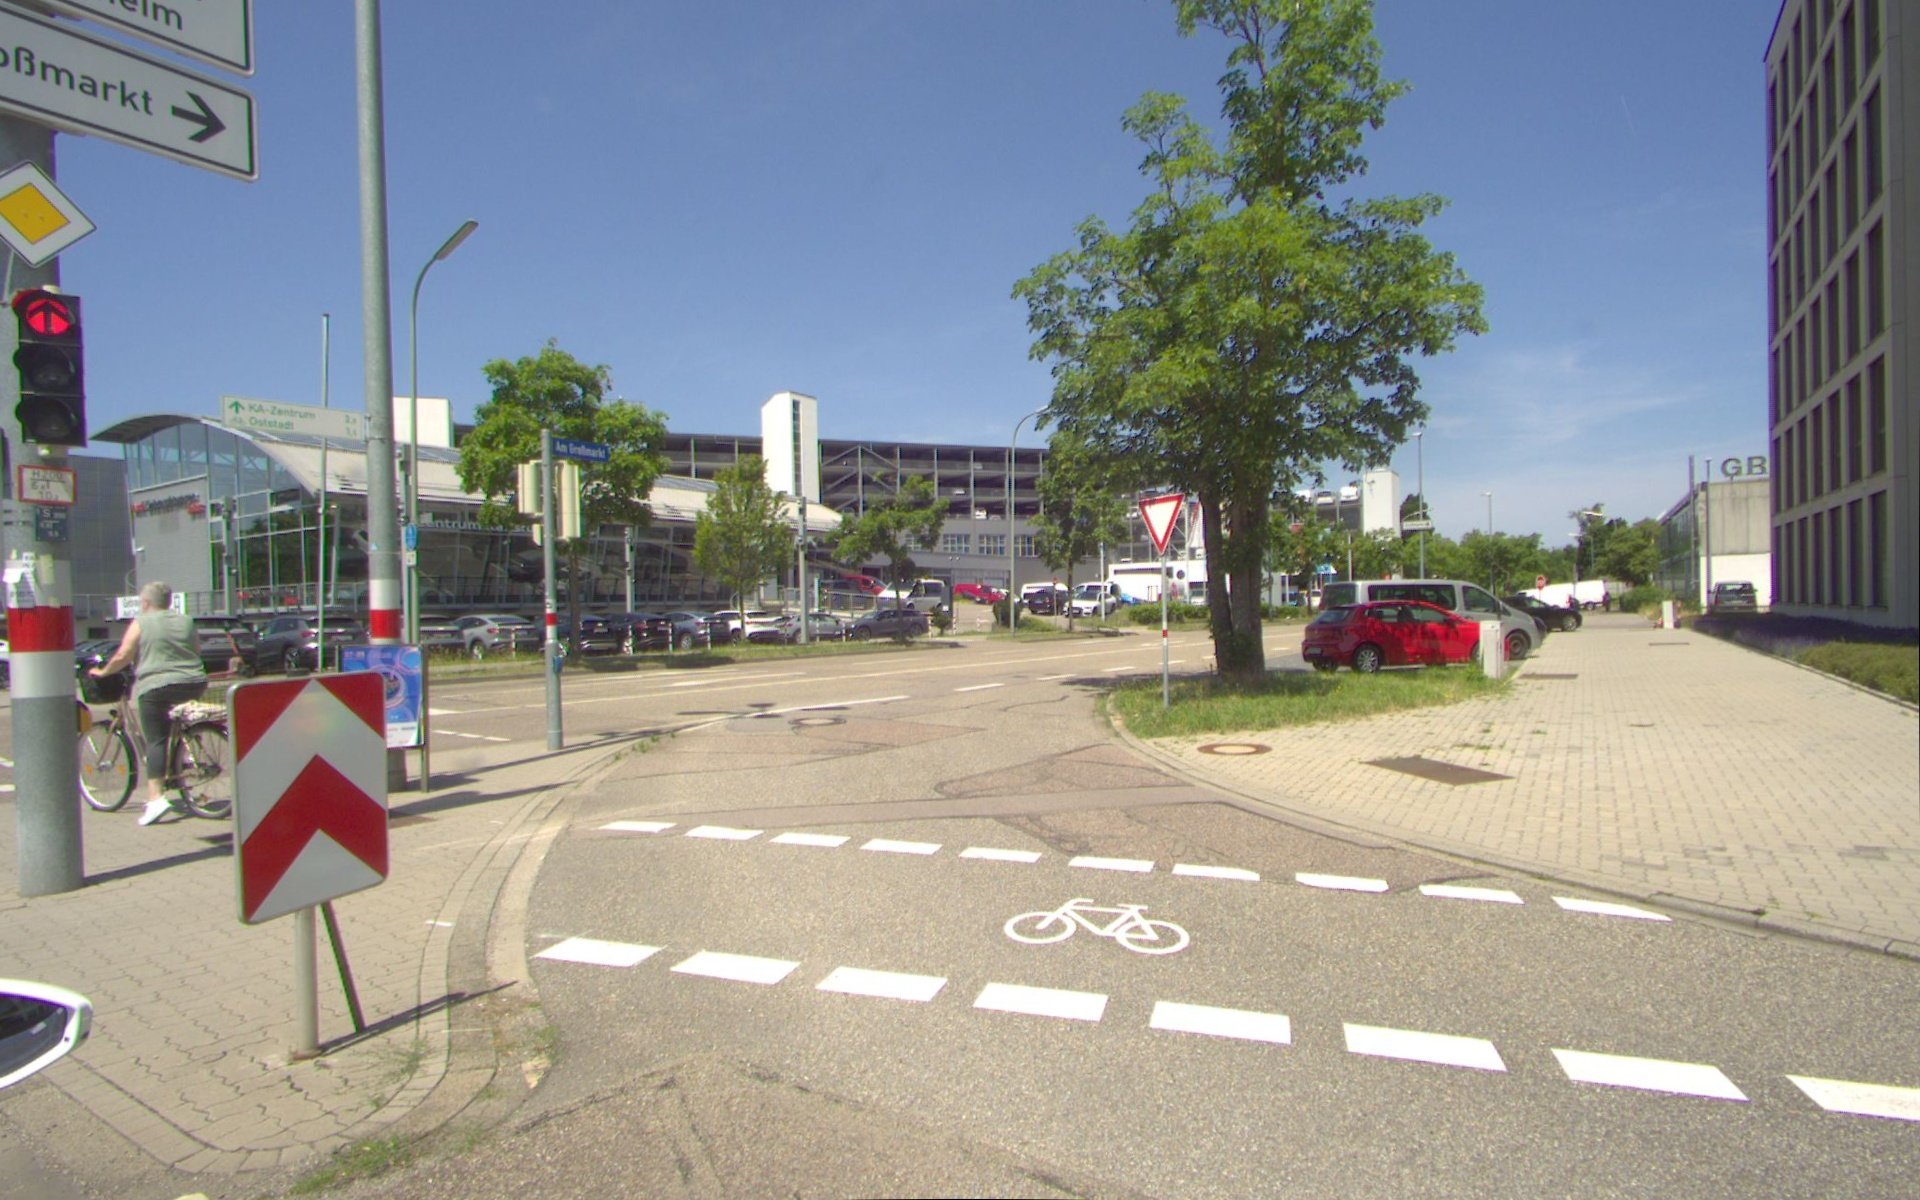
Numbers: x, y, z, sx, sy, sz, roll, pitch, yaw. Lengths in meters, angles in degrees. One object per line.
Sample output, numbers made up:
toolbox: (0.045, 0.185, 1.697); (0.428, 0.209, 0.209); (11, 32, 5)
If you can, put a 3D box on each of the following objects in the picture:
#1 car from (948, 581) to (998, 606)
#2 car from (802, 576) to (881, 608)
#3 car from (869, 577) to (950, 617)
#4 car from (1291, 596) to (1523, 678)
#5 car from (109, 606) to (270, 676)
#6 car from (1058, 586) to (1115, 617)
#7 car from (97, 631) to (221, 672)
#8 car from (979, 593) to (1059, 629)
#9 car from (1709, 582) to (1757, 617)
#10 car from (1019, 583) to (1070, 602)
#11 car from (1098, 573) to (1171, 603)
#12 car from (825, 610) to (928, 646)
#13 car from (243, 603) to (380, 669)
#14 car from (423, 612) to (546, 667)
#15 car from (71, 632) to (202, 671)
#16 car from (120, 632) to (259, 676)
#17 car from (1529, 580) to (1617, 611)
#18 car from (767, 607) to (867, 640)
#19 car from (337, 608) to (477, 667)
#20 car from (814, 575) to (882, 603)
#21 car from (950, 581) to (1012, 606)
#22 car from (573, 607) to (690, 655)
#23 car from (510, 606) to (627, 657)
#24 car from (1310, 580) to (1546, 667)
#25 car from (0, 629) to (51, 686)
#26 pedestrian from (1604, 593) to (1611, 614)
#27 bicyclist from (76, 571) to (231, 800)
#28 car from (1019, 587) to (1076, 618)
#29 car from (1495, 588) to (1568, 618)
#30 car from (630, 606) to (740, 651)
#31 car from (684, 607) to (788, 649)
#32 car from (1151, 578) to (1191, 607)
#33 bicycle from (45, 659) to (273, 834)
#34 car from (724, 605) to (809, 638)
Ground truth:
car: (0.983, -0.444, 74.540); (1.859, 1.728, 3.977); (-1, -1, 33)
car: (-6.645, -0.427, 56.655); (1.888, 1.730, 4.560); (-1, 0, 35)
car: (-2.649, -0.158, 54.026); (1.885, 1.992, 5.228); (-1, 0, 29)
car: (8.950, 0.719, 20.187); (3.923, 1.451, 1.699); (-2, -1, -7)
car: (-19.572, 1.045, 25.403); (4.442, 1.578, 1.863); (-3, 0, 33)
car: (7.639, 0.141, 60.192); (1.970, 1.727, 3.983); (-1, -2, 30)
car: (-32.801, 2.124, 41.082); (1.619, 1.600, 3.642); (-1, -3, 32)
car: (3.015, 0.555, 50.319); (1.888, 1.717, 4.560); (-1, 0, 35)
car: (42.196, 0.020, 54.725); (1.772, 1.750, 3.978); (-1, -2, 34)
car: (7.796, -0.671, 92.224); (4.294, 1.674, 1.904); (-1, 0, 31)
car: (11.981, -0.777, 68.830); (4.521, 1.912, 1.904); (-1, 0, 31)
car: (-3.932, 1.286, 47.683); (4.554, 1.491, 1.839); (-2, 1, -34)
car: (-17.831, 1.016, 27.506); (3.946, 1.675, 1.840); (-2, -3, 35)
car: (-15.111, 1.203, 31.819); (3.758, 1.637, 1.635); (0, 0, 28)
car: (-34.776, 2.167, 42.383); (1.610, 1.593, 3.977); (-1, -3, 32)
car: (-30.160, 2.108, 39.305); (1.633, 1.642, 3.980); (-1, -3, 32)
car: (55.154, -0.368, 90.161); (6.606, 2.552, 2.206); (-1, -2, 35)
car: (-7.068, 1.161, 49.739); (4.527, 1.491, 1.902); (-1, 0, -34)
car: (-16.589, 1.144, 30.012); (3.937, 1.675, 1.844); (-1, -3, 28)
car: (-7.388, -0.710, 66.081); (4.082, 1.745, 1.907); (-1, 0, 25)
car: (1.650, -0.490, 78.024); (4.525, 1.821, 1.903); (-1, 0, 34)
car: (-12.021, 1.177, 36.634); (3.937, 1.675, 1.844); (-1, -3, 28)
car: (-13.405, 1.076, 34.219); (3.851, 1.676, 1.627); (-1, -1, 28)
car: (10.896, 0.515, 23.404); (4.841, 1.911, 1.918); (0, 0, -12)
car: (-25.169, 1.399, 24.091); (1.843, 1.407, 4.584); (-2, -3, 33)
pedestrian: (49.622, 0.293, 76.747); (0.399, 1.580, 0.546); (-1, 1, 33)
bicyclist: (-6.112, 0.626, 7.596); (0.812, 1.626, 0.628); (-1, -1, 27)
car: (5.399, 0.185, 61.284); (1.970, 1.727, 3.983); (-1, -2, 30)
car: (41.490, 0.238, 72.700); (4.513, 2.039, 1.990); (-1, -2, 33)
car: (-10.660, 1.136, 38.845); (3.937, 1.675, 1.844); (-1, -3, 28)
car: (-9.227, 1.181, 41.164); (3.937, 1.675, 1.844); (-1, -3, 28)
car: (16.364, -0.552, 77.602); (1.812, 2.039, 3.981); (-1, -2, 31)
bicycle: (-6.069, 1.045, 7.570); (1.865, 1.147, 0.628); (0, -1, 27)
car: (-9.971, 1.079, 51.745); (3.938, 1.591, 1.842); (-1, 0, -28)
